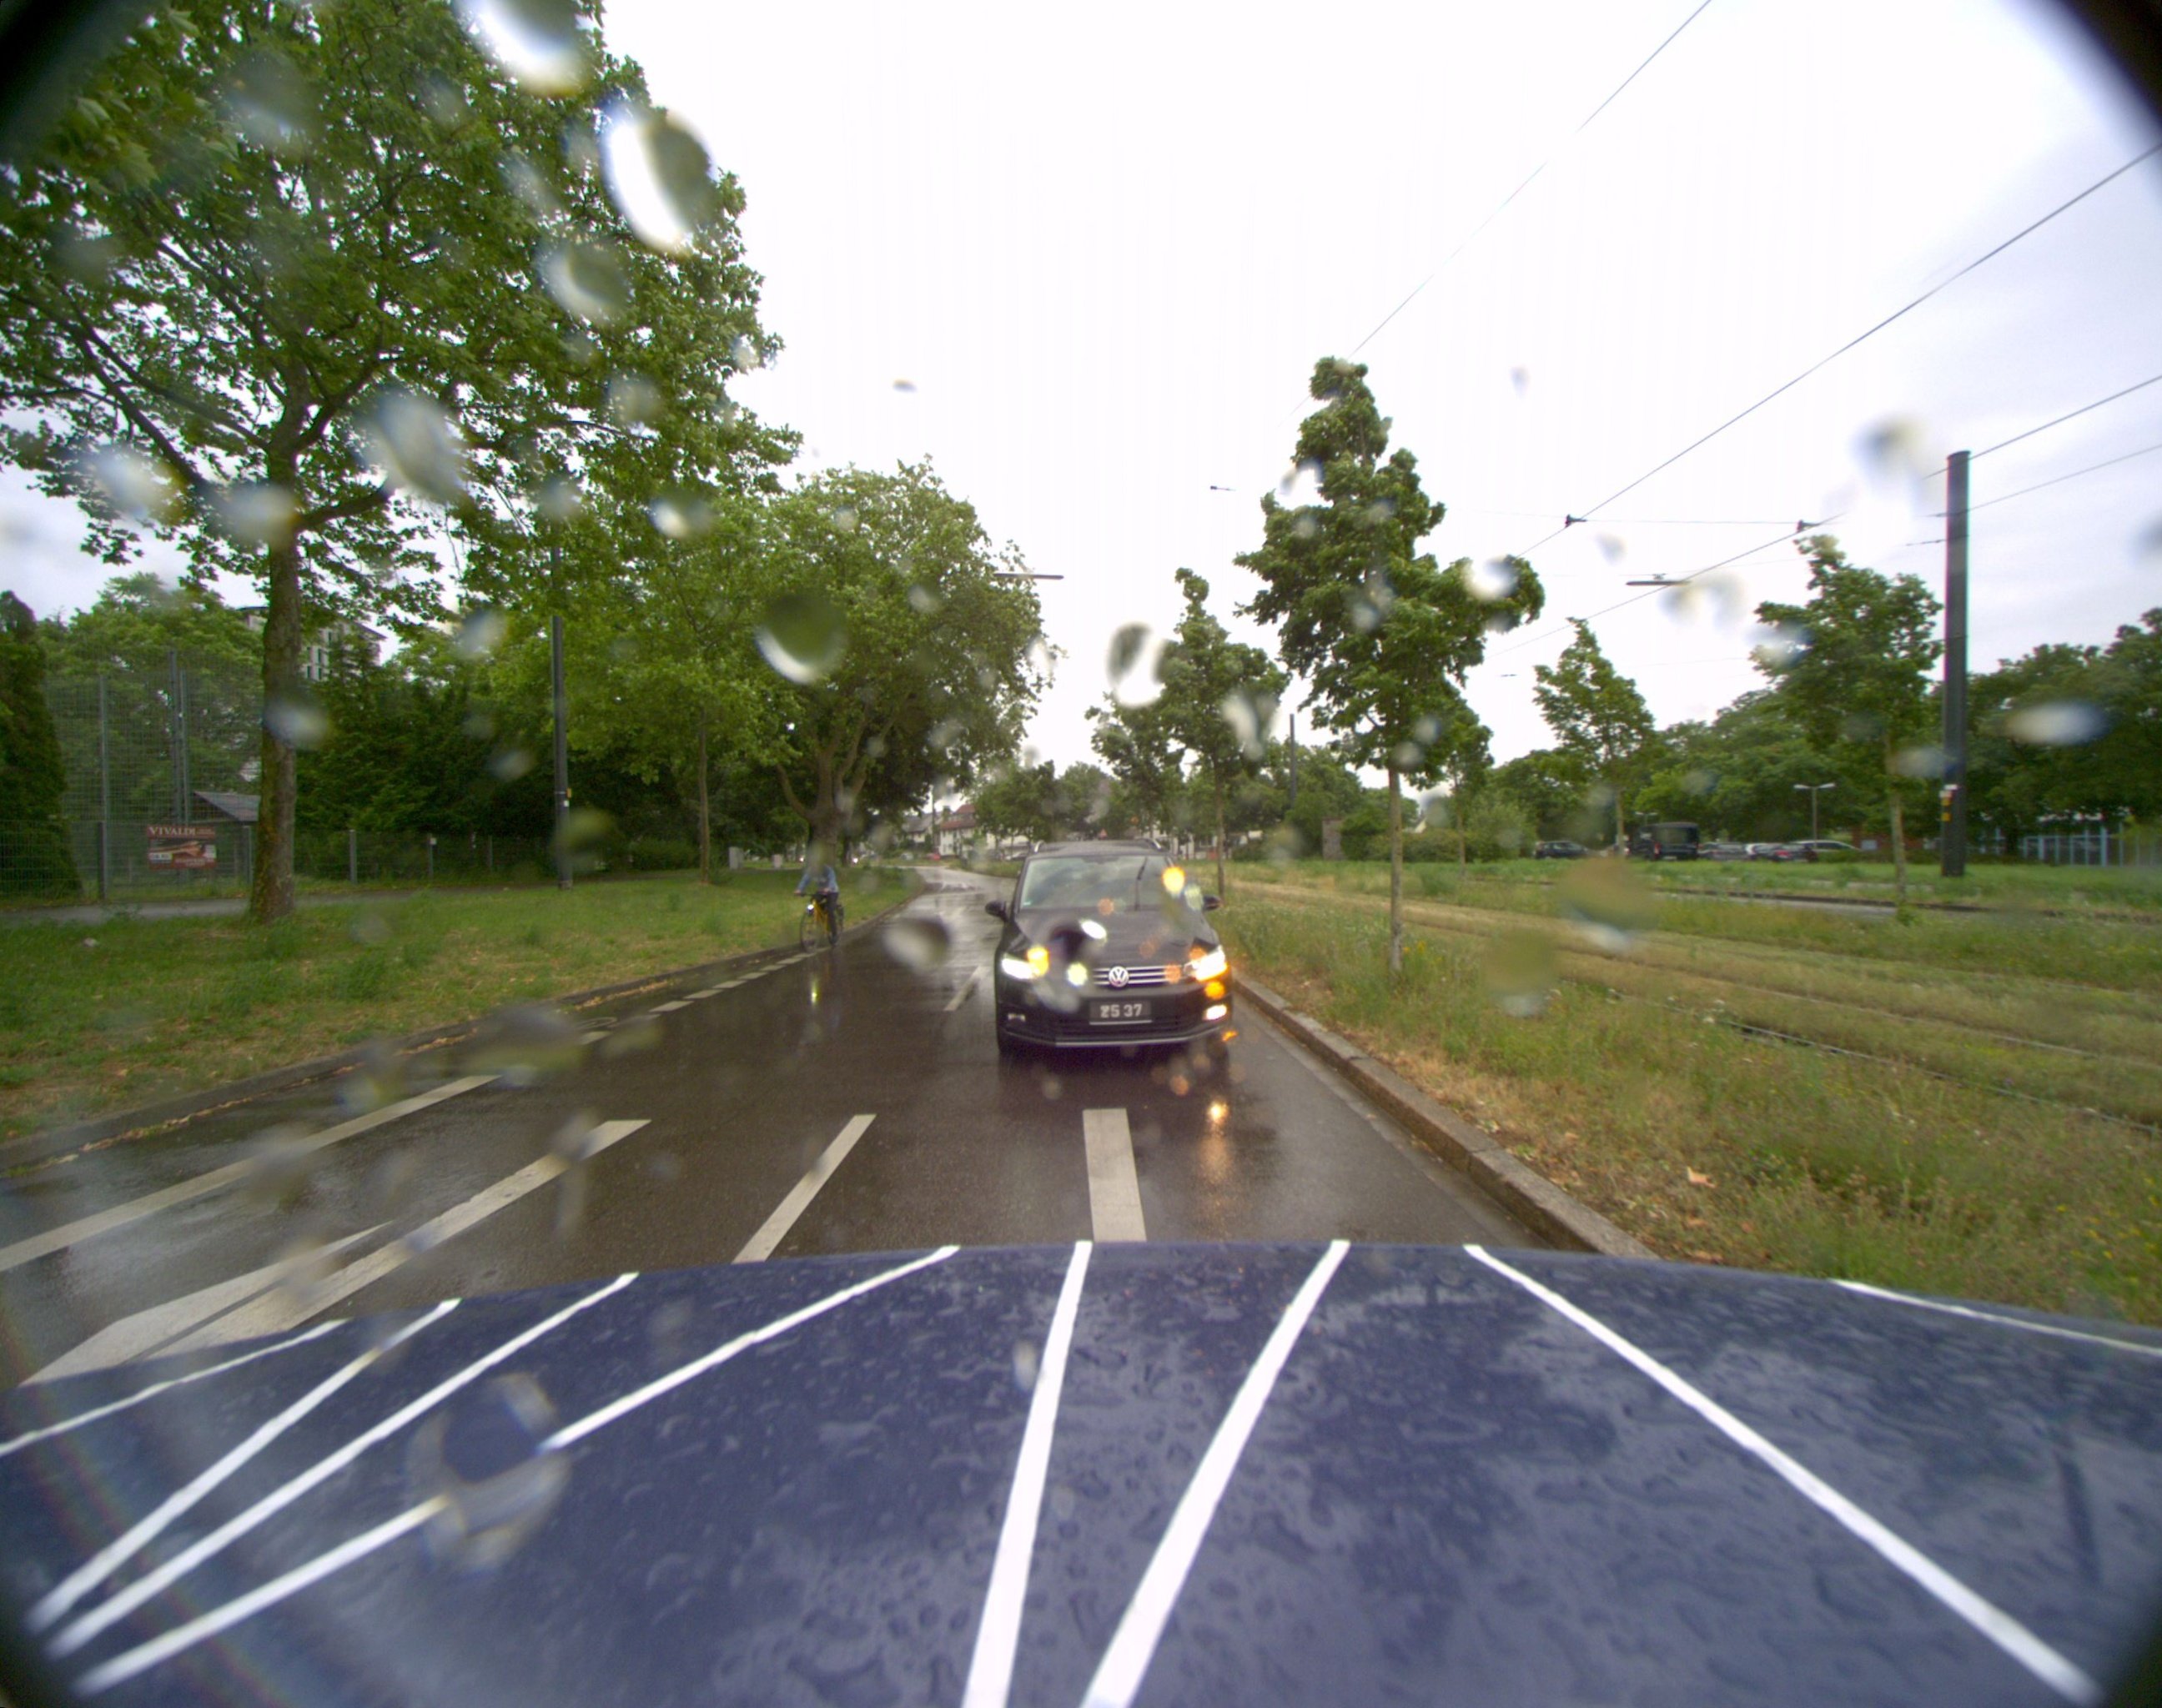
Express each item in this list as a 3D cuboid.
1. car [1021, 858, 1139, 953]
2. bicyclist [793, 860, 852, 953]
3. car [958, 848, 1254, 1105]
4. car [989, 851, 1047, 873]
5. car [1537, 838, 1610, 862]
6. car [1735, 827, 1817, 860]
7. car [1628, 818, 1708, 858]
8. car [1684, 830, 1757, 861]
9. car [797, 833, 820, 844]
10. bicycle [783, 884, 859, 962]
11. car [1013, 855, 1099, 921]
[{"bbox_3d":[-0.082,0.815,13.895,1.788,1.355,3.996,-2,1,-2],"label":"car"},{"bbox_3d":[-4.403,0.879,12.992,0.692,1.497,0.844,-2,2,-3],"label":"bicyclist"},{"bbox_3d":[0.190,0.785,7.216,1.866,1.592,4.524,-2,1,1],"label":"car"},{"bbox_3d":[-4.668,0.574,55.654,4.046,1.412,1.674,-2,1,-10],"label":"car"},{"bbox_3d":[34.760,-0.275,53.754,4.172,1.474,1.786,-2,1,27],"label":"car"},{"bbox_3d":[36.510,-0.584,40.083,2.057,1.563,5.024,-2,1,29],"label":"car"},{"bbox_3d":[31.999,-0.870,41.603,2.307,2.002,5.125,-2,1,24],"label":"car"},{"bbox_3d":[34.640,-0.500,41.286,1.752,1.522,4.856,-2,1,24],"label":"car"},{"bbox_3d":[-51.461,-2.950,143.436,4.004,1.816,1.996,-3,1,-24],"label":"car"},{"bbox_3d":[-4.398,1.139,13.017,0.692,1.110,1.884,-2,1,-3],"label":"bicycle"},{"bbox_3d":[-0.726,0.766,19.026,1.789,1.396,3.791,-2,1,-6],"label":"car"}]
